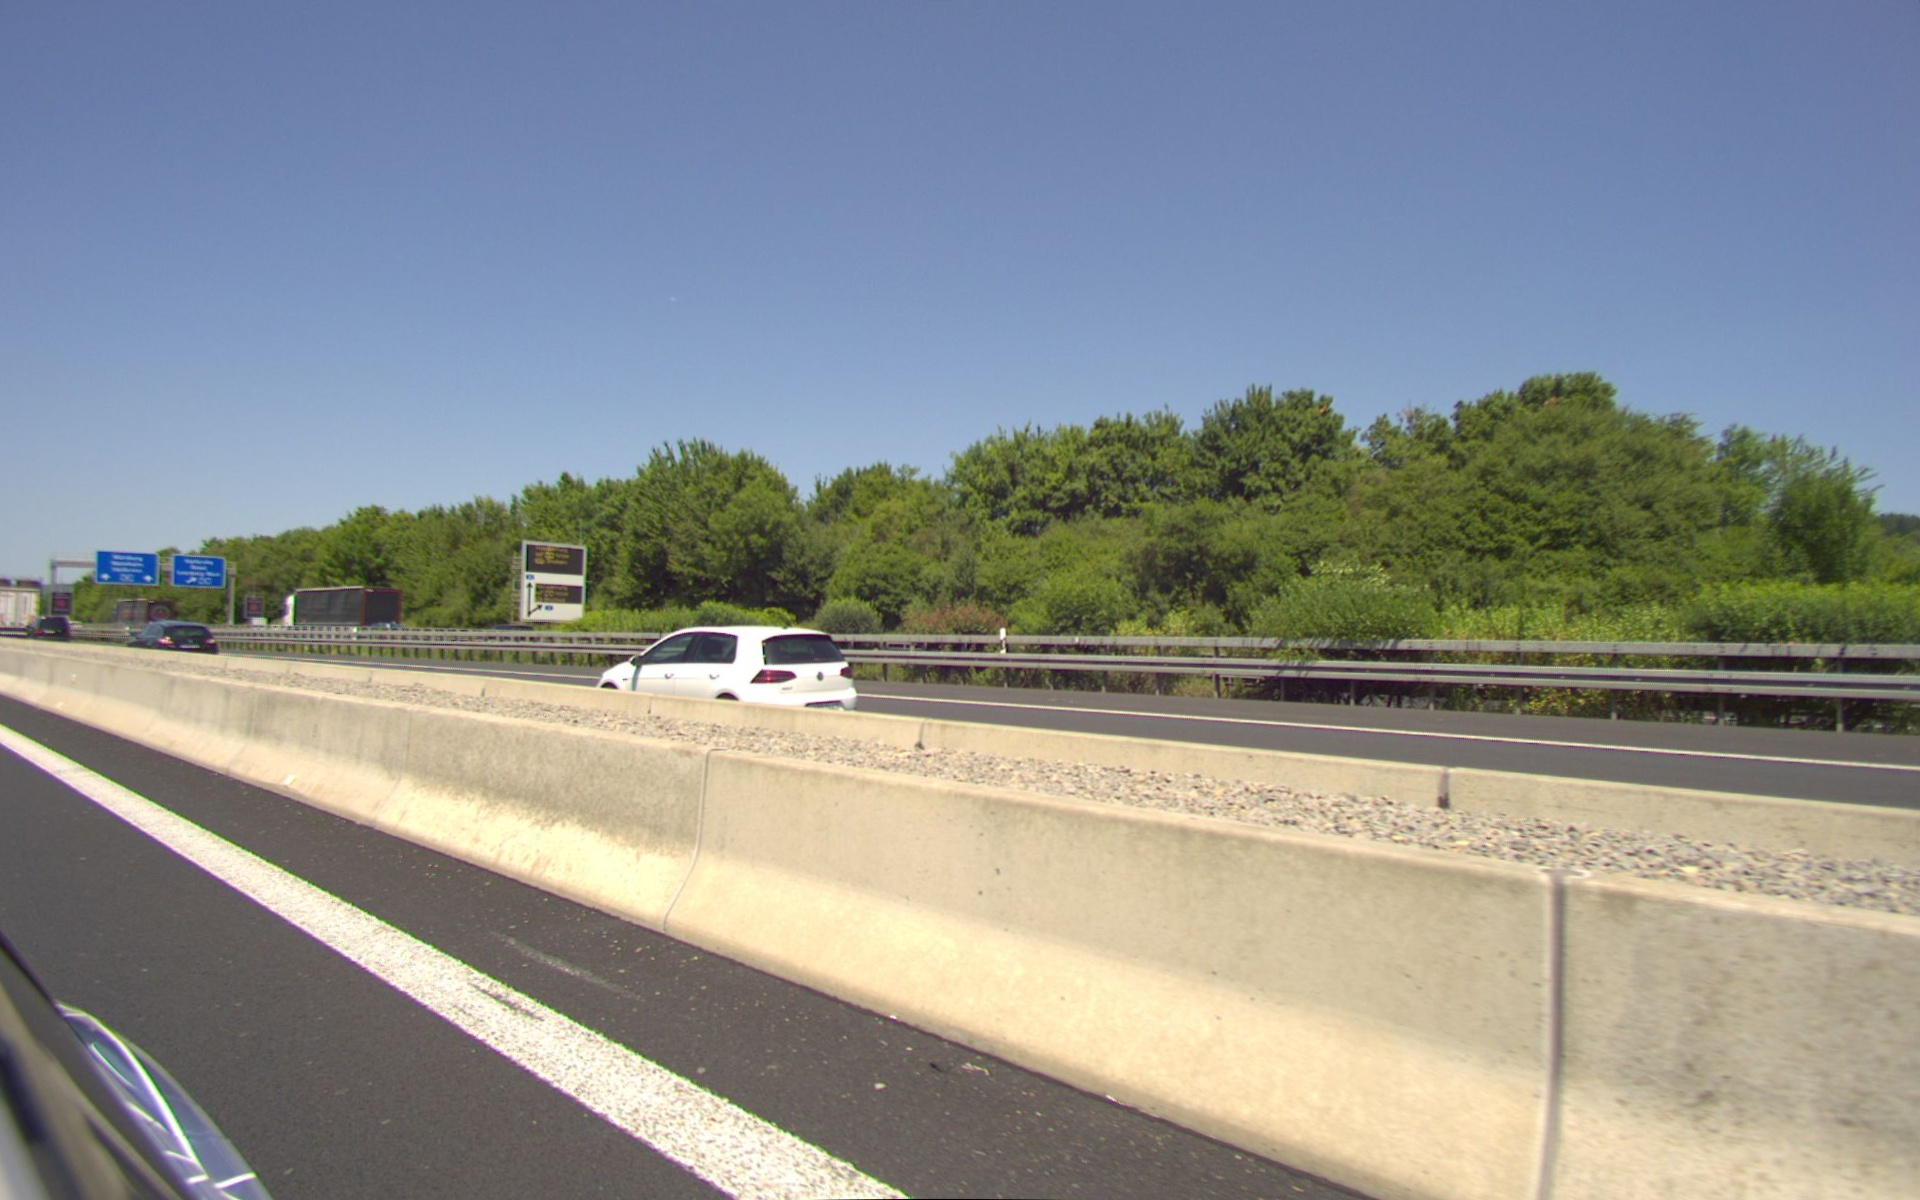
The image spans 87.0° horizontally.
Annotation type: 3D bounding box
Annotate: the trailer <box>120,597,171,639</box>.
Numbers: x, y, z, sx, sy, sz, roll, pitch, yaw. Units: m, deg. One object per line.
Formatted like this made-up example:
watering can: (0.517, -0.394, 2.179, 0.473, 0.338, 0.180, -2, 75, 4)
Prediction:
trailer: (-91.318, 2.000, 113.359, 11.653, 4.467, 2.764, -1, -1, 43)

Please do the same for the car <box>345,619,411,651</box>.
car: (-34.741, 2.072, 60.394, 4.426, 1.871, 1.973, -1, -3, 40)

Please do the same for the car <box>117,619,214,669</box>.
car: (-26.342, 1.419, 33.500, 4.611, 1.548, 1.710, -1, -1, 41)

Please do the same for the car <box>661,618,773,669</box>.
car: (-9.391, 1.648, 38.977, 4.426, 1.871, 1.973, -1, -3, 40)

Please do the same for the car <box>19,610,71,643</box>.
car: (-58.498, 1.674, 64.657, 4.483, 2.029, 1.973, -1, -1, 41)

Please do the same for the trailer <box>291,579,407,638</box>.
trailer: (-45.373, 0.648, 74.809, 13.526, 4.076, 3.187, -1, -1, 40)

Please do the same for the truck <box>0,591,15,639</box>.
truck: (-82.151, 1.270, 85.340, 5.893, 4.003, 2.899, -1, -1, 40)

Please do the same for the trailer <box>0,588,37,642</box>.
trailer: (-76.548, 1.168, 80.671, 12.054, 4.076, 2.880, -1, -1, 40)

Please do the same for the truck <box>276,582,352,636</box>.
truck: (-50.656, 0.708, 79.289, 6.634, 4.076, 3.187, -1, -1, 40)

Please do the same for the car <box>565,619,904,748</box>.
car: (-3.102, 0.962, 13.318, 4.659, 1.384, 1.973, -1, -1, 41)
